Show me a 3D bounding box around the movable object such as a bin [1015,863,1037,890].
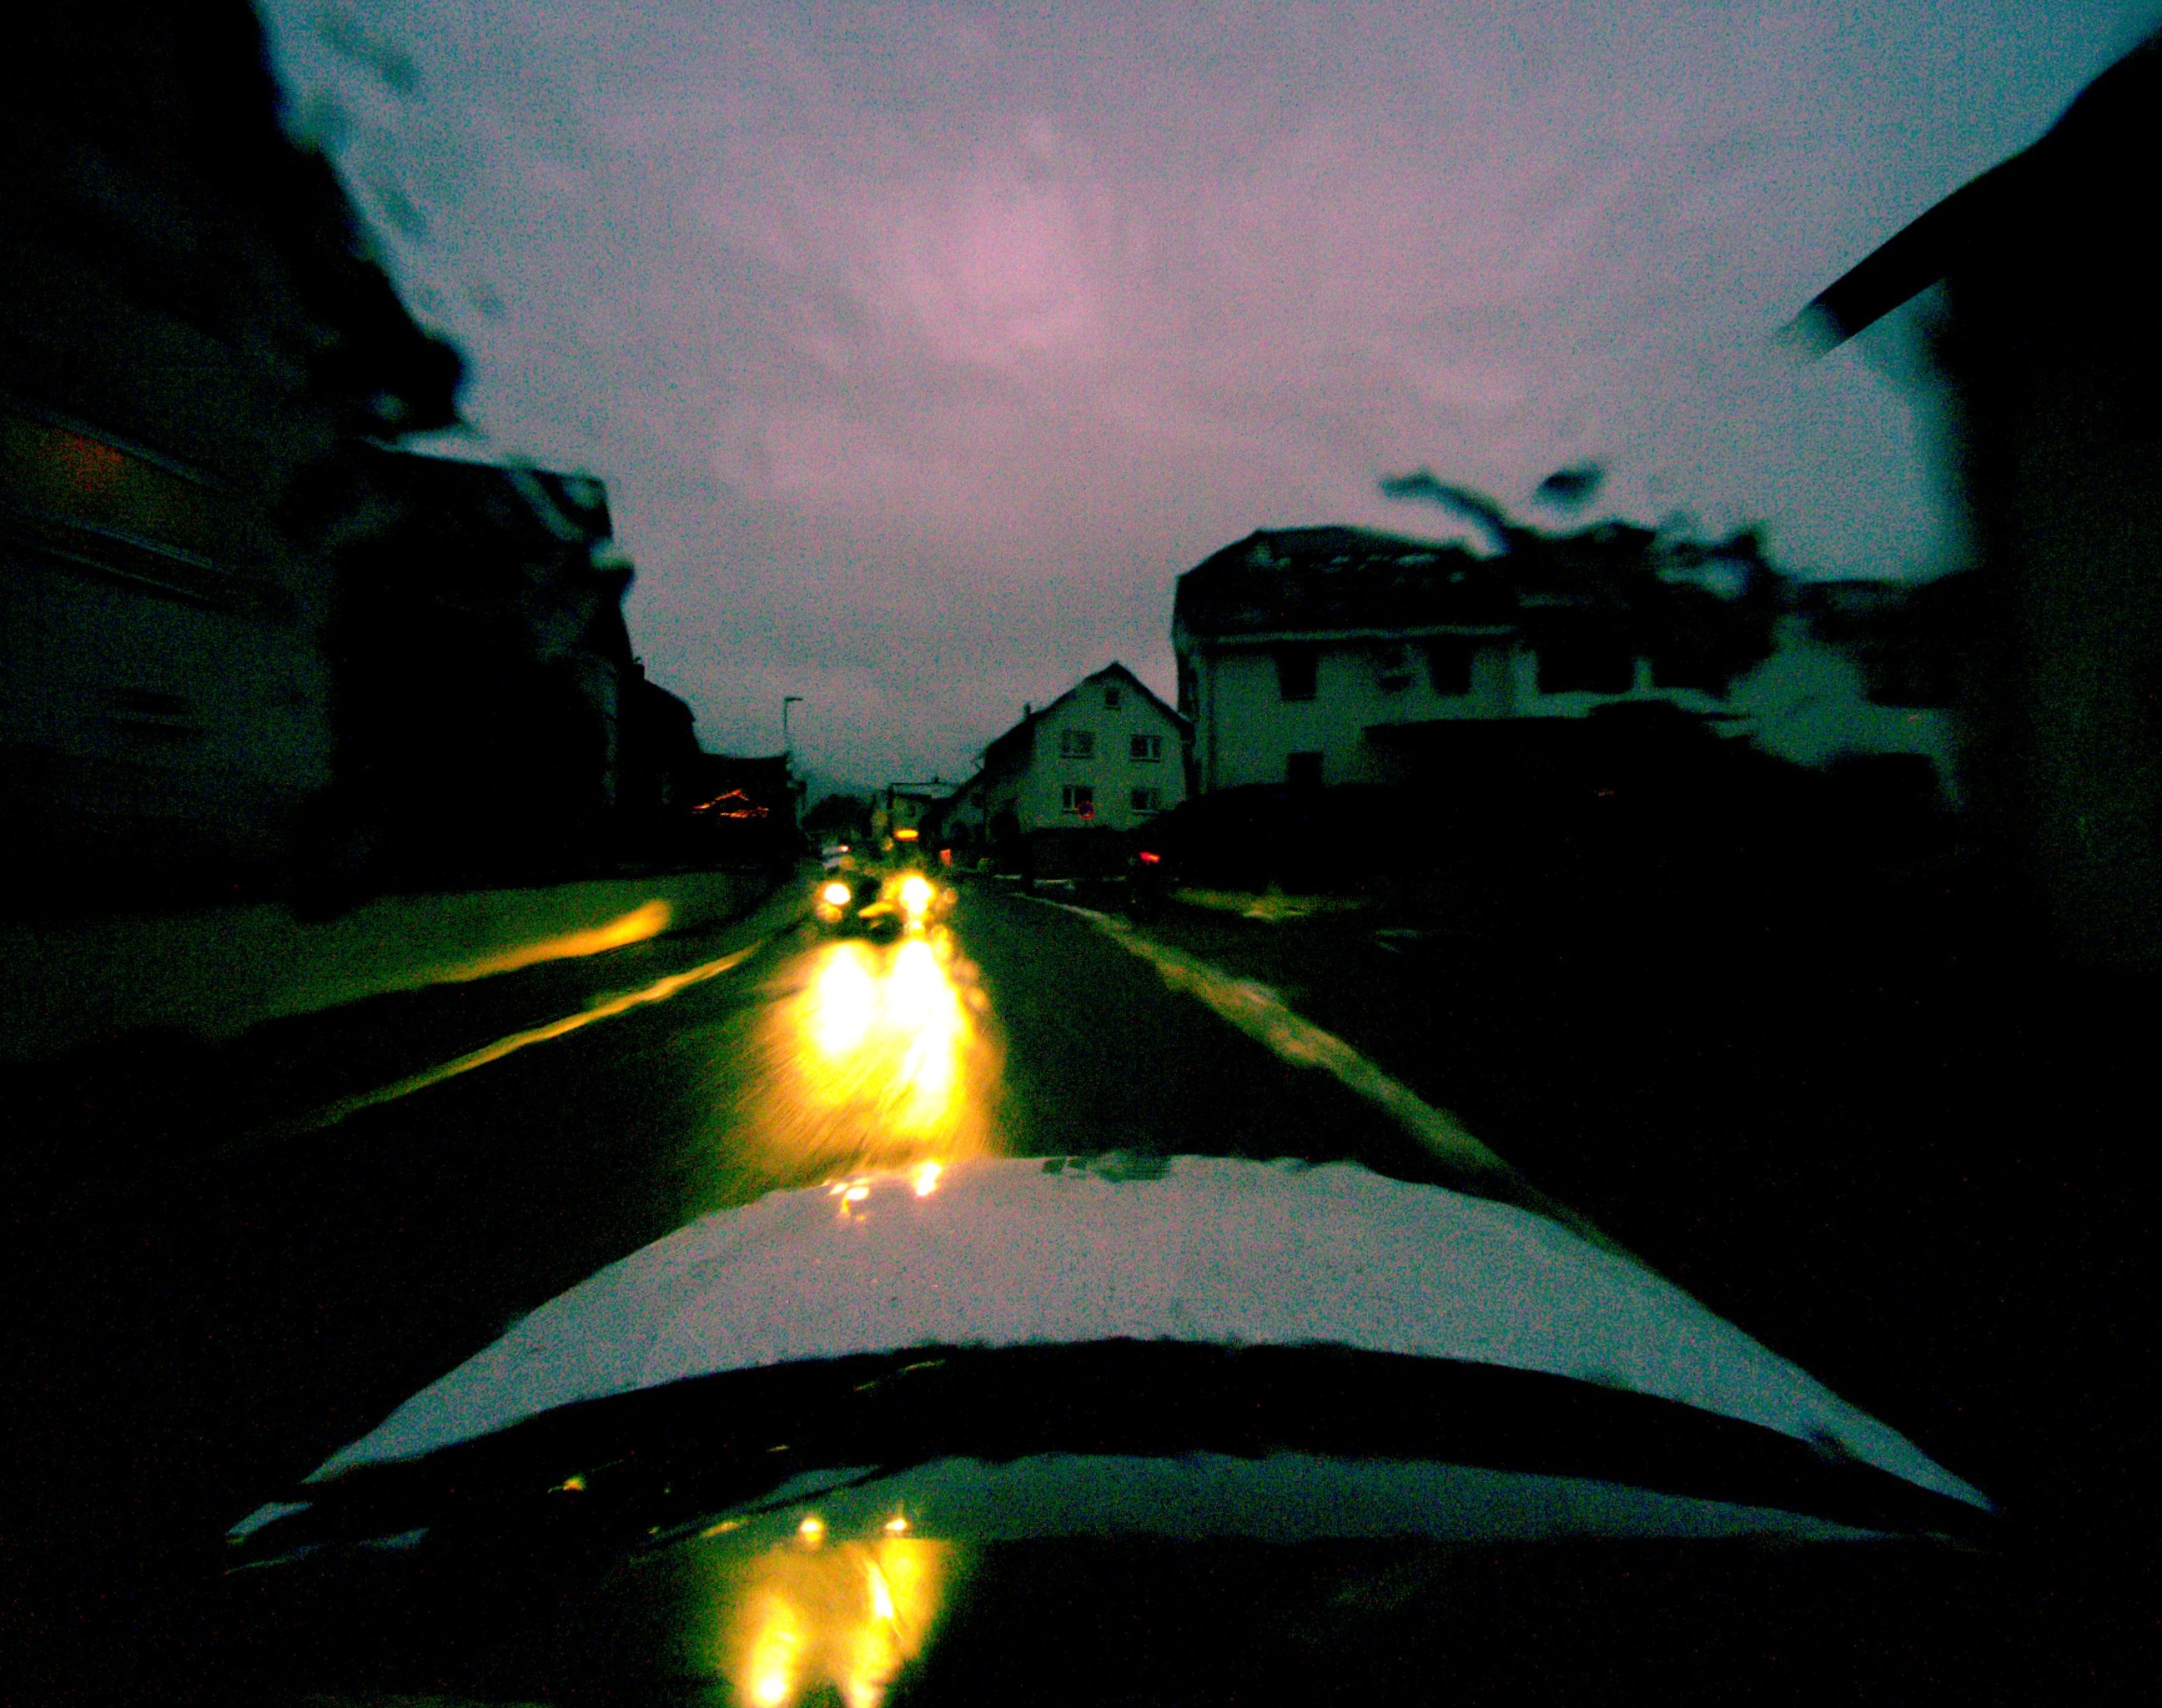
[{"bbox_3d":[-1.862,0.757,27.597,0.637,0.917,0.683,0,0,-13],"label":"movable object such as a bin"}]

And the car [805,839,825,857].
[{"bbox_3d":[-24.659,-0.560,75.472,1.688,1.584,4.150,-1,0,-18],"label":"car"}]

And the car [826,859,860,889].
[{"bbox_3d":[-12.438,1.026,42.448,1.623,1.438,3.634,-1,0,-18],"label":"car"}]

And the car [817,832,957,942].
[{"bbox_3d":[-4.033,0.606,17.869,2.106,2.027,4.976,-1,0,-3],"label":"car"}]

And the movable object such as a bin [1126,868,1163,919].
[{"bbox_3d":[1.218,0.752,15.715,0.538,0.938,0.687,0,0,-12],"label":"movable object such as a bin"}]

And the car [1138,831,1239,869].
[{"bbox_3d":[4.717,-0.165,36.011,3.991,1.618,1.991,0,1,-13],"label":"car"}]
